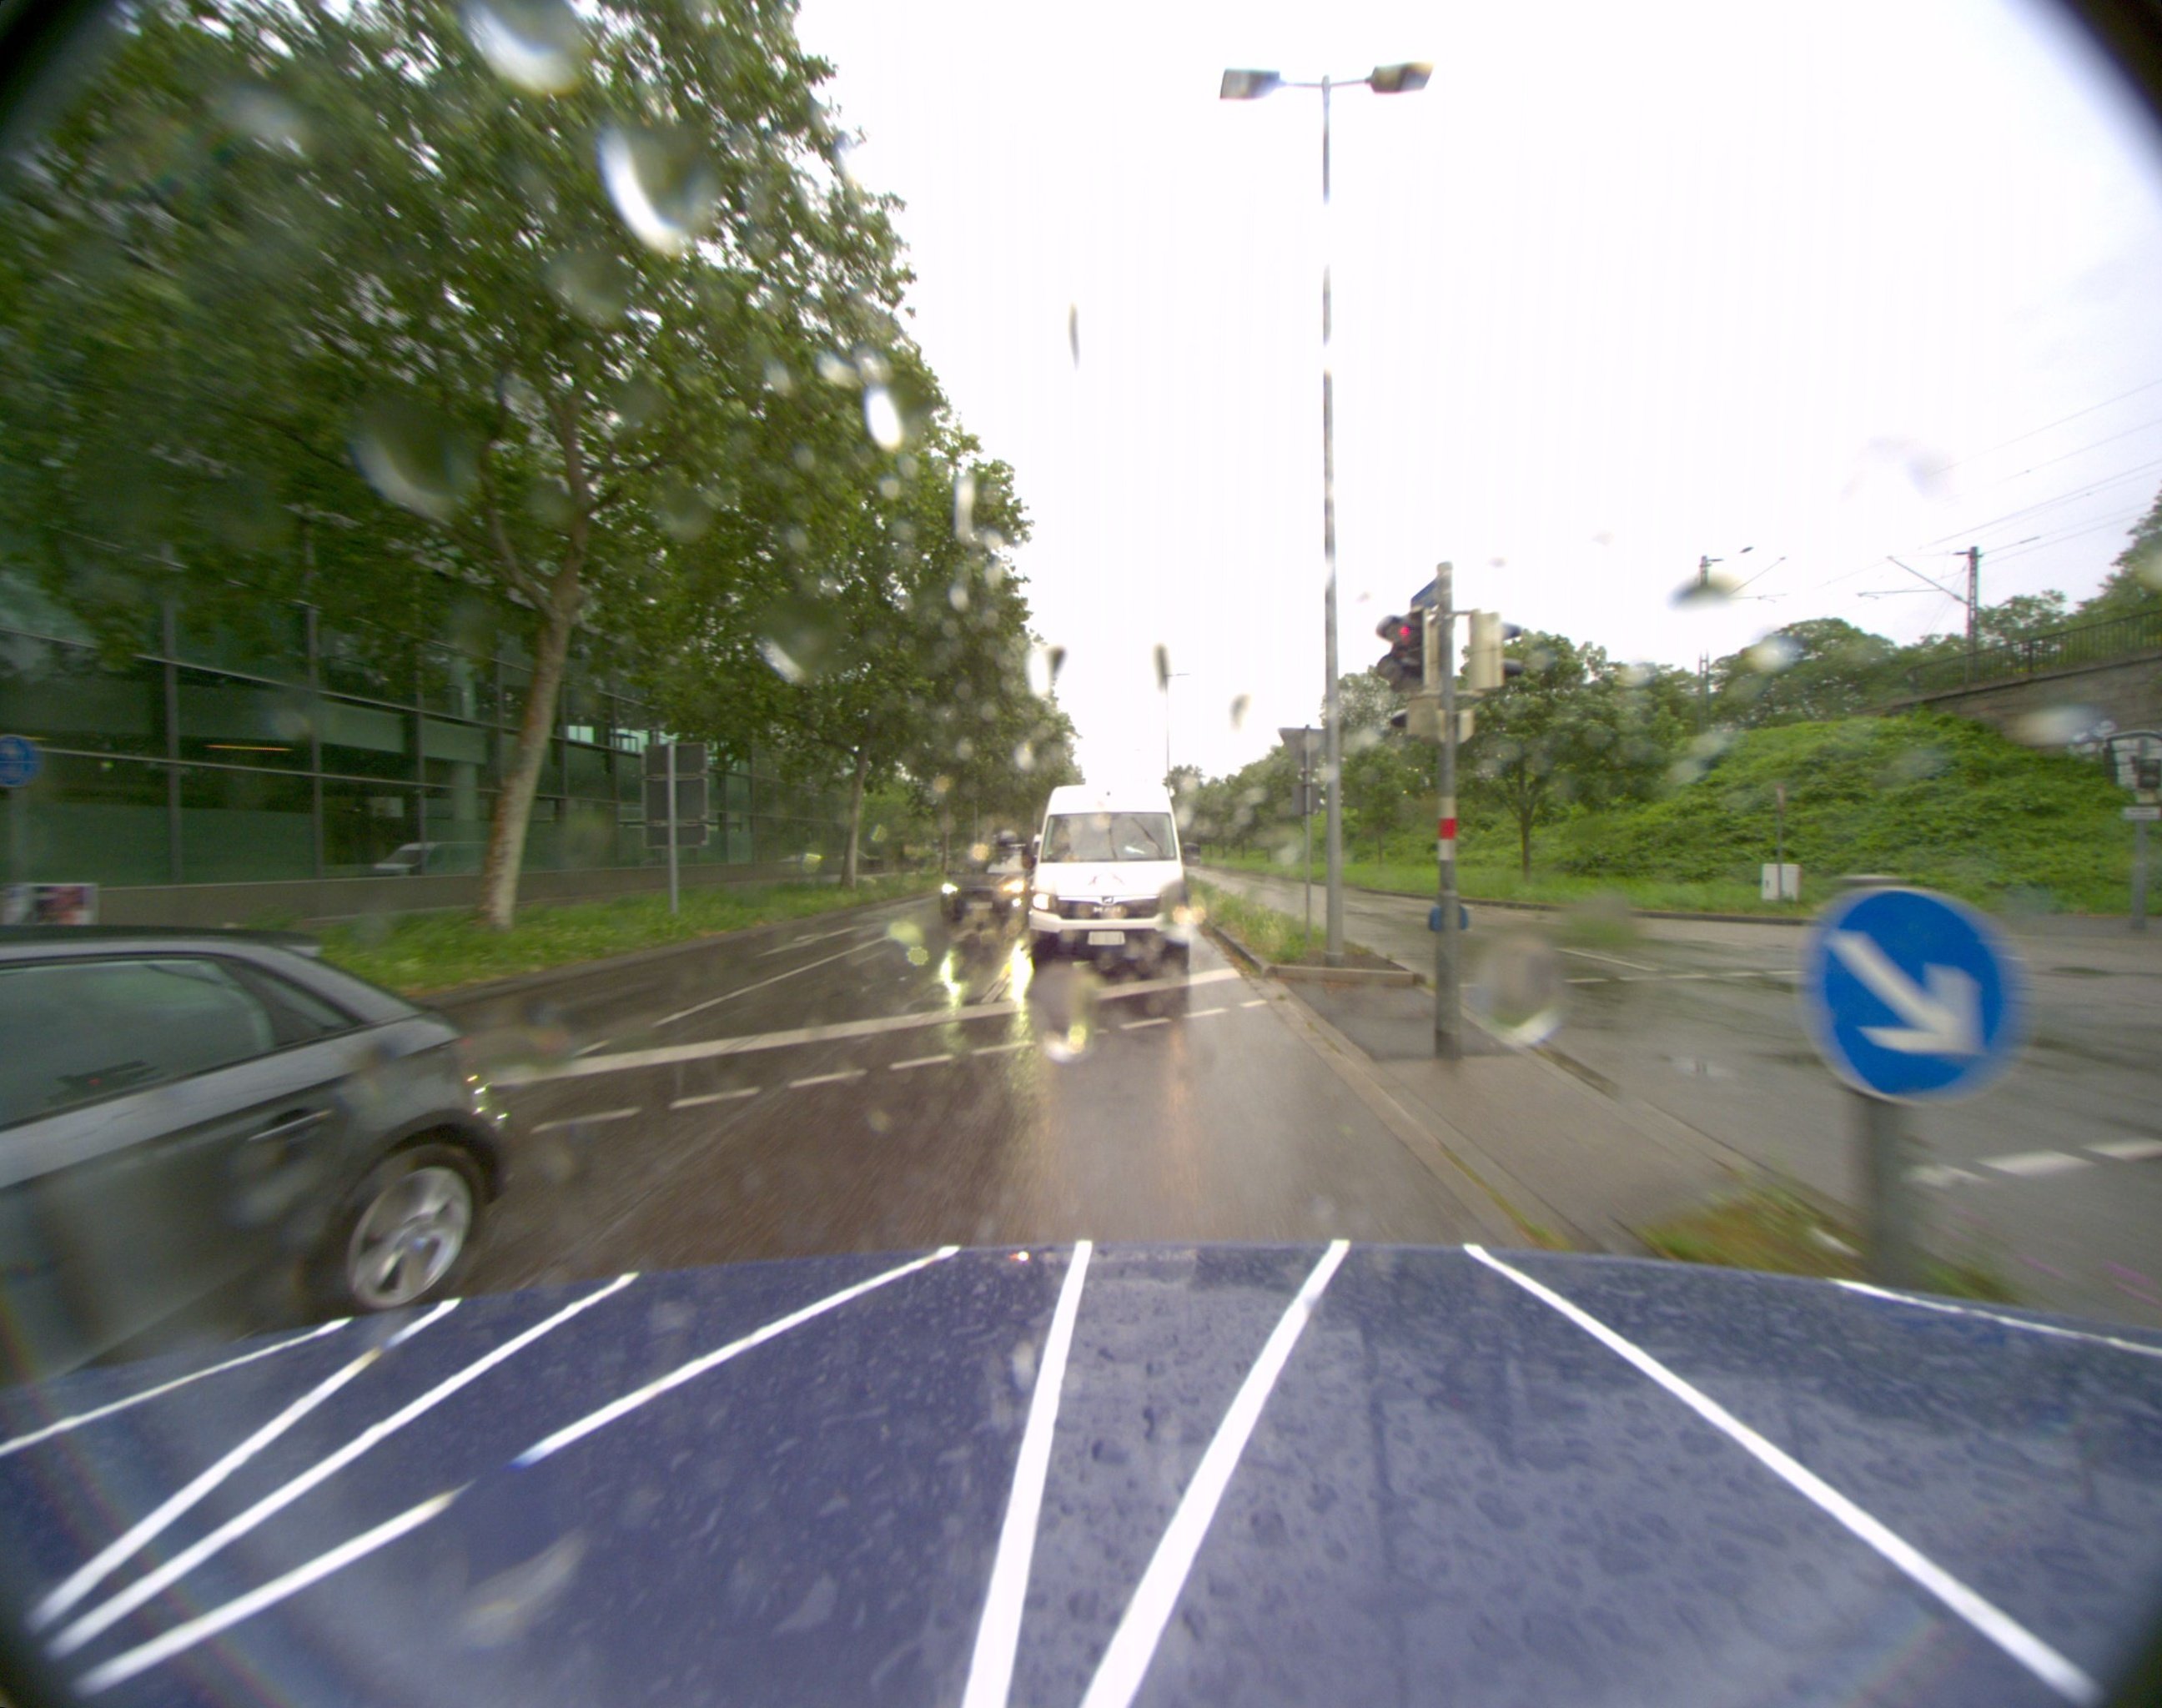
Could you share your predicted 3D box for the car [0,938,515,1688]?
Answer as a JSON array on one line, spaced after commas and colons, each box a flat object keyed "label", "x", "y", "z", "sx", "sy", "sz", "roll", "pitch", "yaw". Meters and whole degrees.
[{"label": "car", "x": -3.203, "y": 1.069, "z": 1.064, "sx": 1.840, "sy": 1.390, "sz": 3.754, "roll": -2, "pitch": 1, "yaw": 3}]

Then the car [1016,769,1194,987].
[{"label": "car", "x": 0.506, "y": 0.245, "z": 11.490, "sx": 1.968, "sy": 2.420, "sz": 5.963, "roll": -1, "pitch": 1, "yaw": 5}]

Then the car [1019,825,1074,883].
[{"label": "car", "x": -1.470, "y": -0.028, "z": 34.511, "sx": 1.998, "sy": 2.416, "sz": 4.978, "roll": -1, "pitch": 1, "yaw": 3}]

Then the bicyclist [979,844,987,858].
[{"label": "bicyclist", "x": -10.953, "y": -0.301, "z": 84.843, "sx": 0.807, "sy": 1.507, "sz": 0.752, "roll": 2, "pitch": 2, "yaw": 0}]

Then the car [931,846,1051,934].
[{"label": "car", "x": -1.868, "y": 0.708, "z": 17.192, "sx": 1.998, "sy": 1.738, "sz": 4.328, "roll": 0, "pitch": 0, "yaw": 3}]

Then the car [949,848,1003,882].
[{"label": "car", "x": -4.783, "y": 0.456, "z": 35.066, "sx": 1.802, "sy": 1.428, "sz": 4.000, "roll": -1, "pitch": 1, "yaw": 1}]

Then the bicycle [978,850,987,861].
[{"label": "bicycle", "x": -10.978, "y": 0.156, "z": 84.857, "sx": 0.745, "sy": 1.098, "sz": 2.077, "roll": 1, "pitch": 1, "yaw": 1}]
